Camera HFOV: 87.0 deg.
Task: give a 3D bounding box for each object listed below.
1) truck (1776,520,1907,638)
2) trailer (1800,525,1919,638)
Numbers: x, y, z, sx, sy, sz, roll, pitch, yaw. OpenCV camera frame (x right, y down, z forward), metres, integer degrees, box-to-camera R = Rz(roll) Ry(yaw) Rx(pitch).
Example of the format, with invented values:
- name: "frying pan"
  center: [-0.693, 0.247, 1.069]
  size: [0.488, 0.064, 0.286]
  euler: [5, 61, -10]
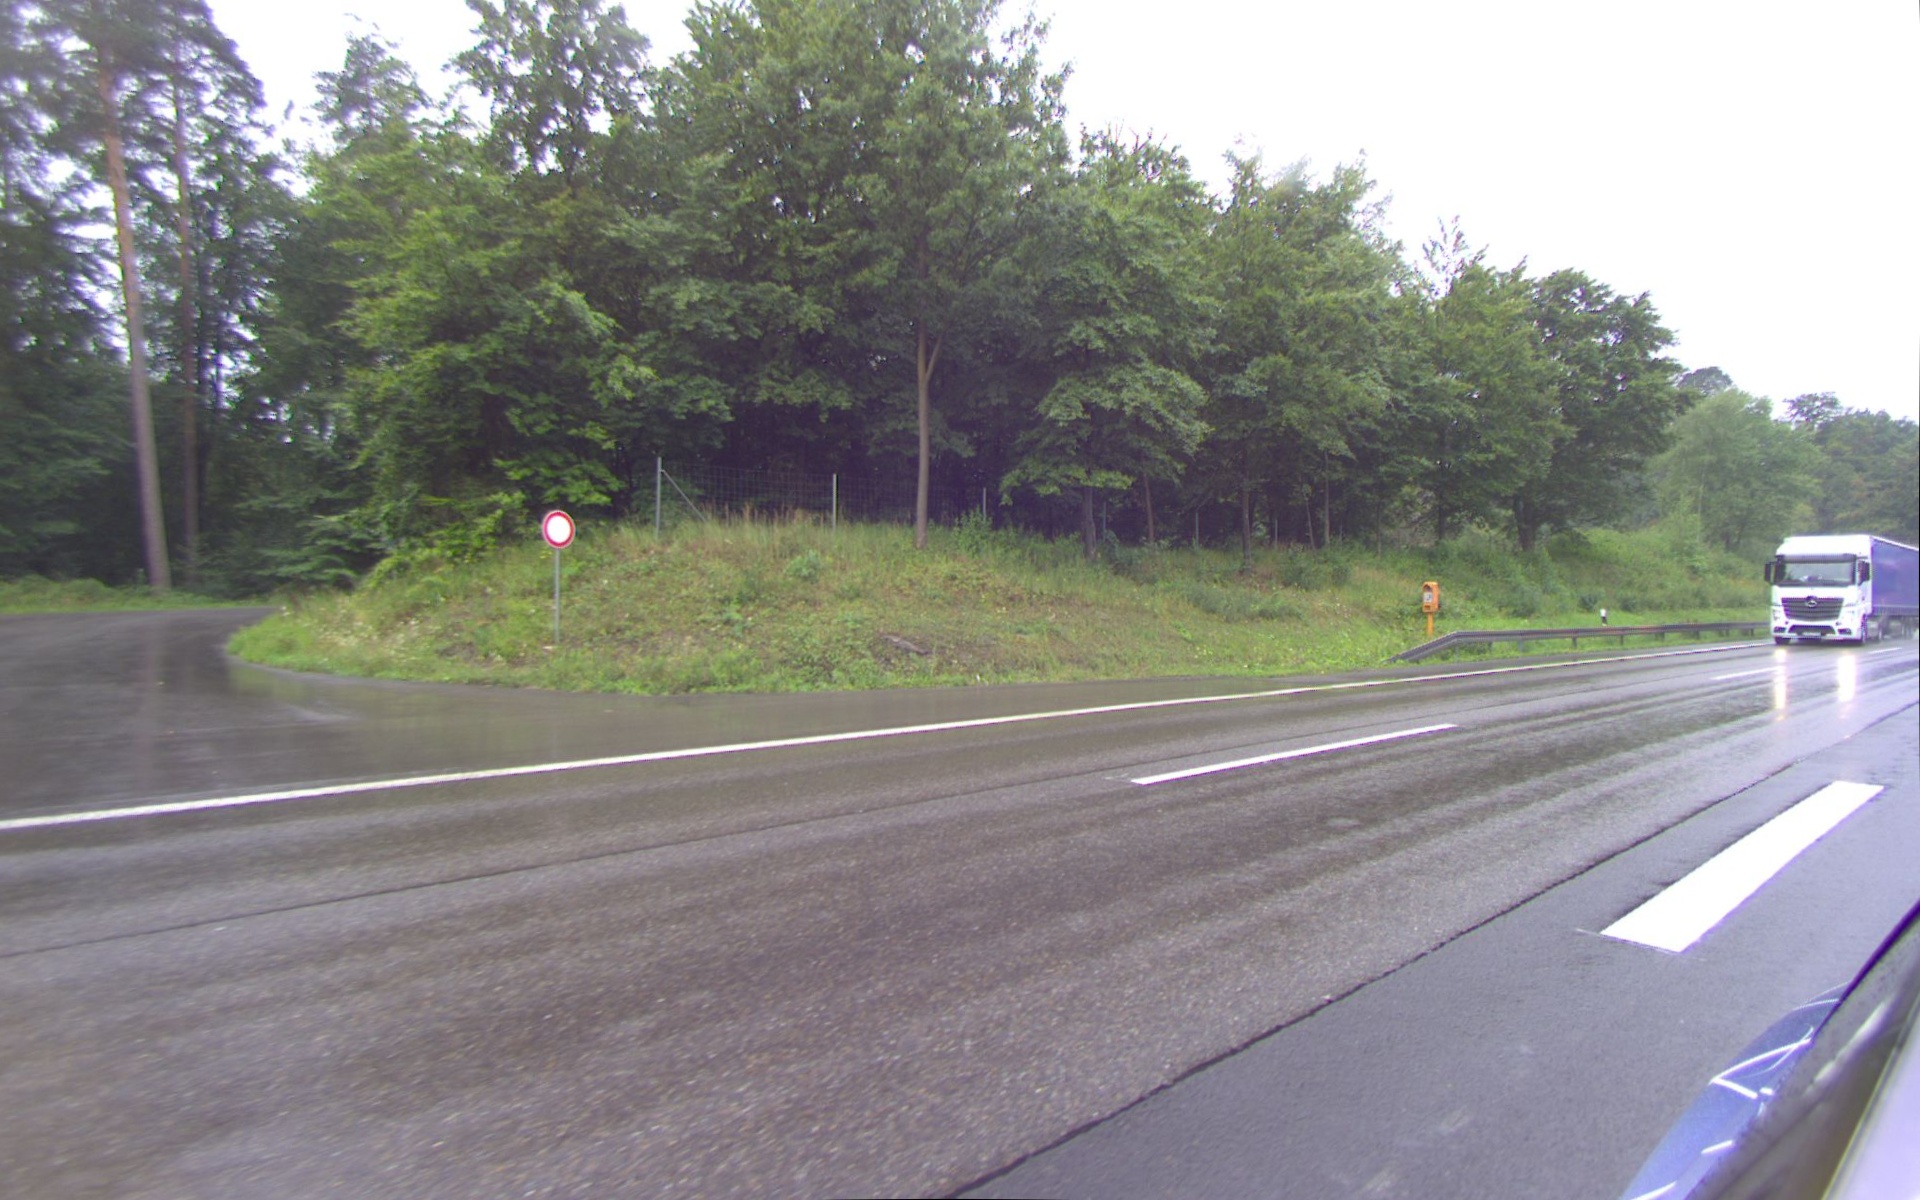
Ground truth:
- name: "truck"
  center: [32.795, -0.711, 37.584]
  size: [5.904, 4.065, 2.607]
  euler: [0, -1, -39]
- name: "trailer"
  center: [37.793, -0.699, 41.584]
  size: [13.469, 4.064, 2.559]
  euler: [0, 0, -40]
